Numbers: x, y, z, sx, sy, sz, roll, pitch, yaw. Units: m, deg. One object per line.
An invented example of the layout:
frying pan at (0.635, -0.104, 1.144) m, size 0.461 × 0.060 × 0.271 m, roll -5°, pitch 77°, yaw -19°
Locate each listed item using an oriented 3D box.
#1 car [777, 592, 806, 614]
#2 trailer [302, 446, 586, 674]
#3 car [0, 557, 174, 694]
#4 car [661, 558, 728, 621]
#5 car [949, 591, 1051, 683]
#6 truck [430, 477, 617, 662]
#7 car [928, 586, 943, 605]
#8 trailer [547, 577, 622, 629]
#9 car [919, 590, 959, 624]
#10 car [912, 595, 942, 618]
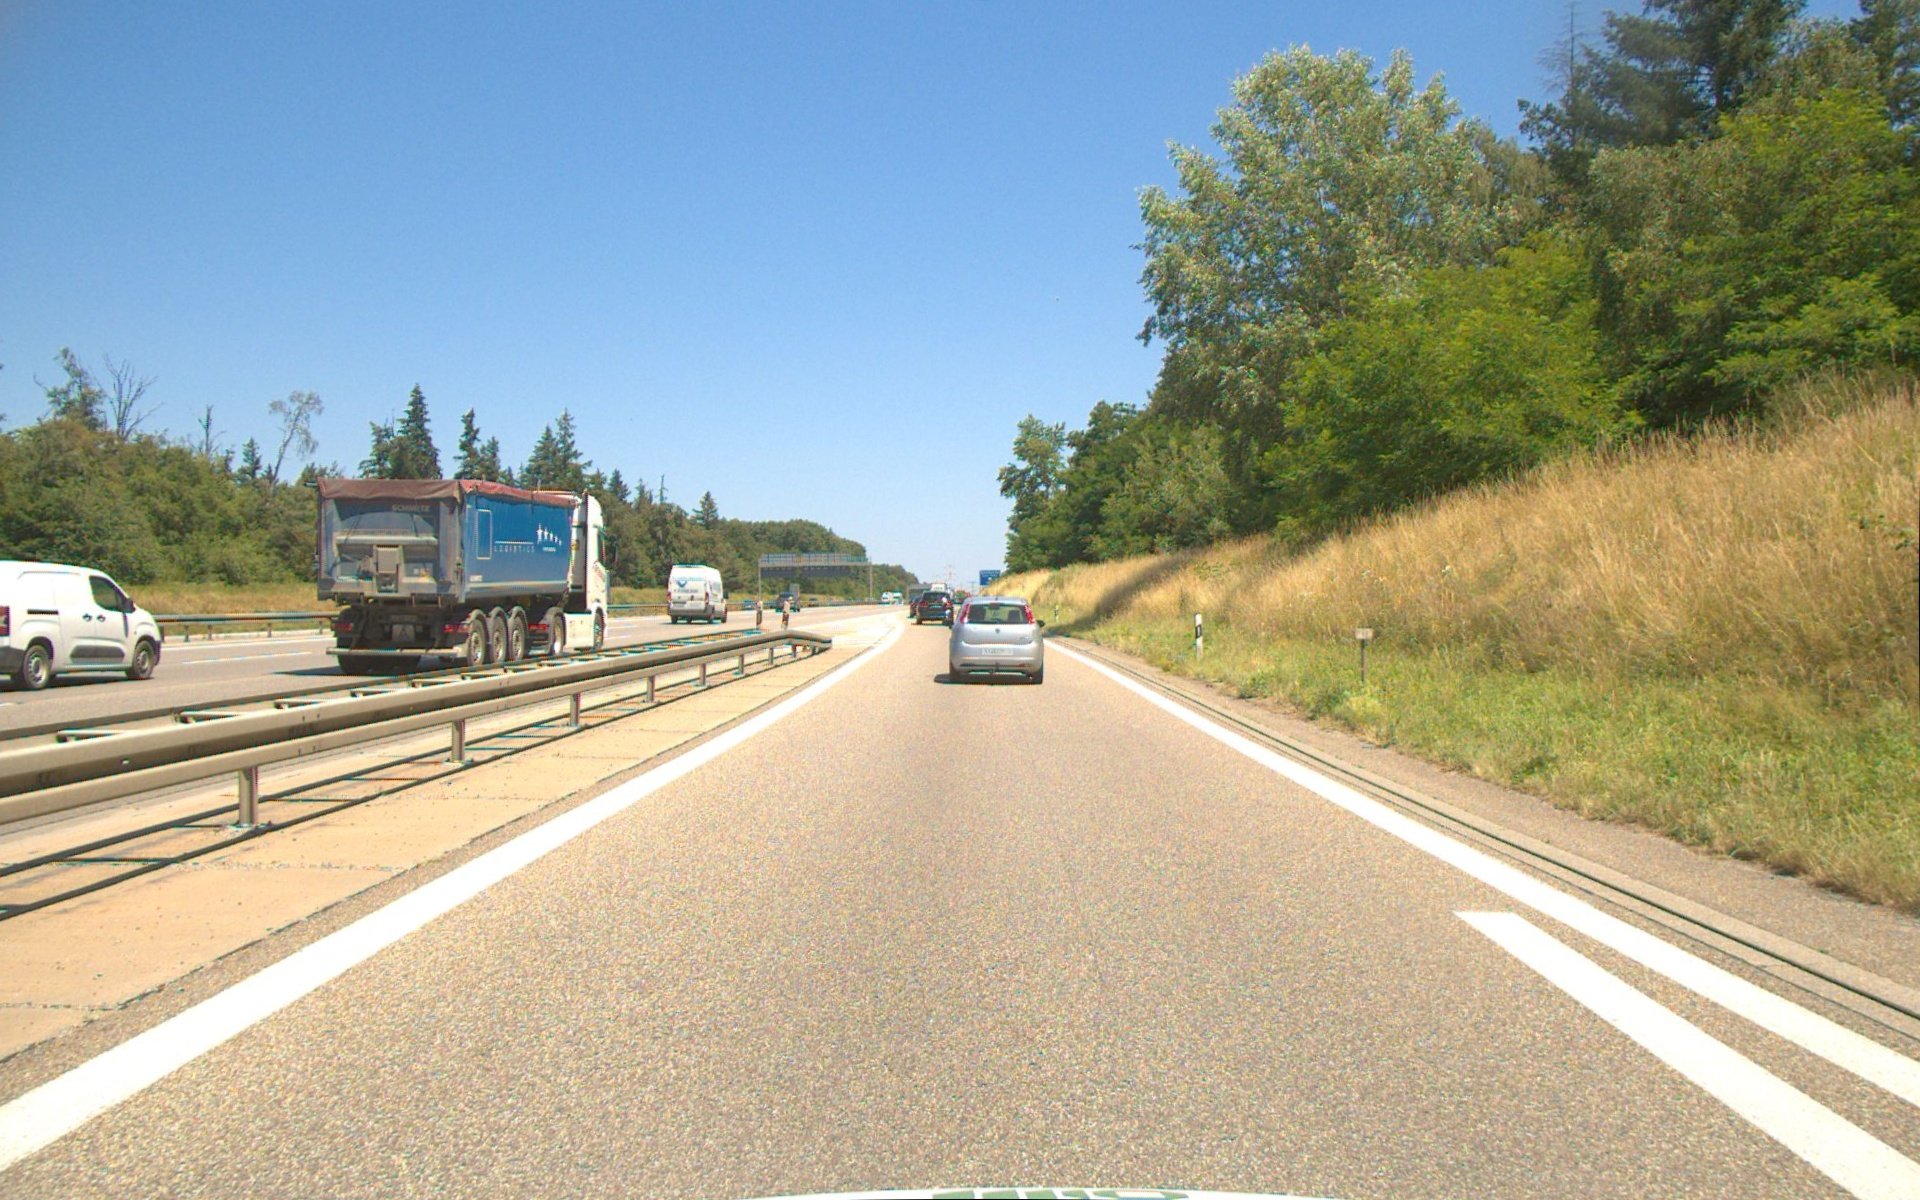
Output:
car at (-14.690, 0.273, 144.773) m, size 2.113 × 1.846 × 4.859 m, roll 0°, pitch 0°, yaw -1°
trailer at (-9.697, -0.682, 32.336) m, size 2.681 × 3.824 × 9.109 m, roll 0°, pitch 0°, yaw 0°
car at (-13.911, 0.339, 24.932) m, size 1.794 × 1.866 × 4.717 m, roll 0°, pitch 0°, yaw 1°
car at (-13.040, -0.486, 81.673) m, size 2.213 × 3.002 × 6.113 m, roll 1°, pitch 0°, yaw 0°
car at (0.658, 0.616, 29.760) m, size 1.684 × 1.518 × 3.736 m, roll 1°, pitch 0°, yaw -1°
truck at (-9.680, -0.639, 37.307) m, size 2.629 × 3.824 × 5.944 m, roll 0°, pitch 0°, yaw 0°
car at (-2.697, -0.474, 179.884) m, size 1.579 × 2.049 × 3.999 m, roll 1°, pitch 0°, yaw -1°
trailer at (-32.587, 0.311, 144.265) m, size 3.137 × 4.245 × 13.984 m, roll -1°, pitch 0°, yaw 1°
car at (-1.071, 0.382, 86.372) m, size 1.793 × 1.701 × 4.001 m, roll 1°, pitch -1°, yaw 3°
car at (-2.244, 0.422, 112.441) m, size 1.855 × 1.495 × 4.262 m, roll 1°, pitch 0°, yaw 1°
